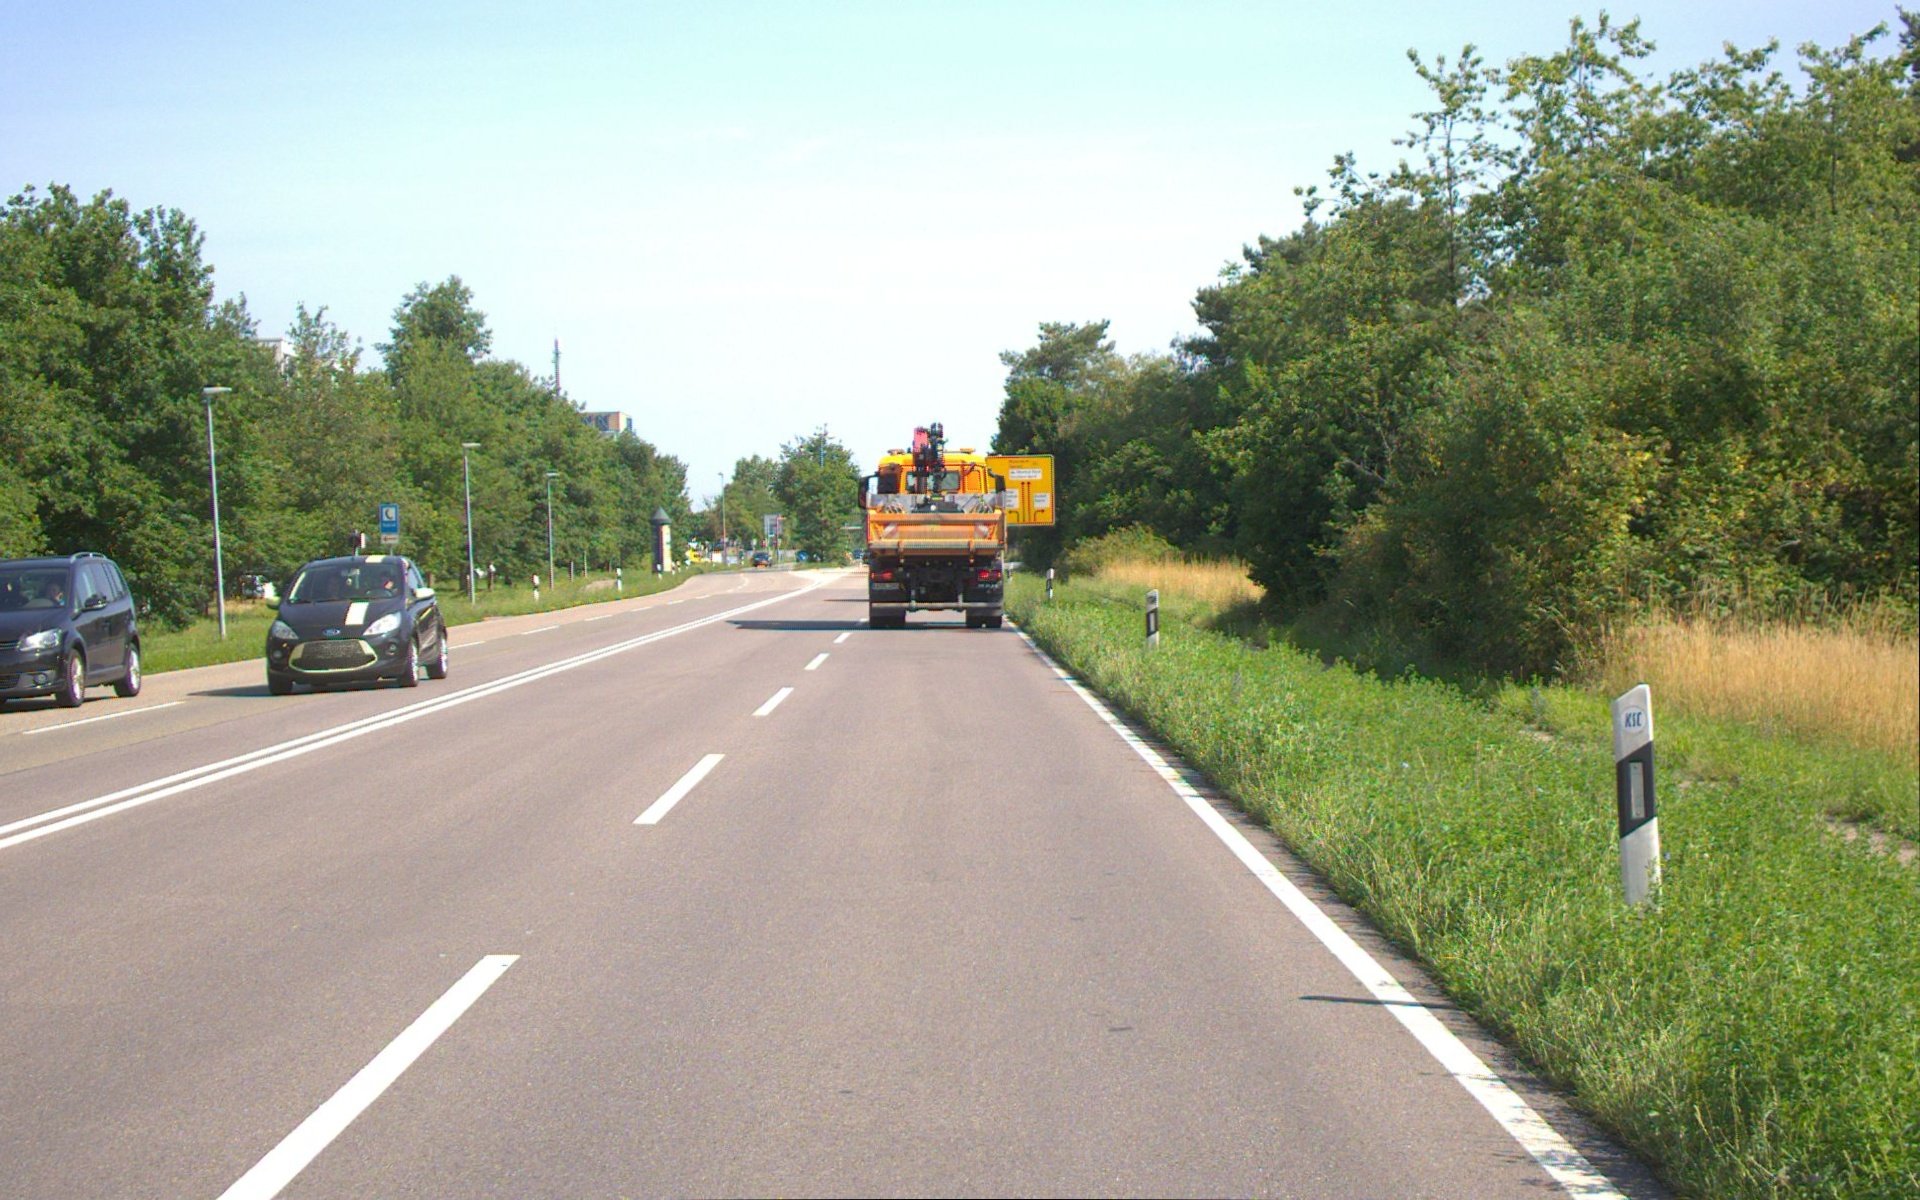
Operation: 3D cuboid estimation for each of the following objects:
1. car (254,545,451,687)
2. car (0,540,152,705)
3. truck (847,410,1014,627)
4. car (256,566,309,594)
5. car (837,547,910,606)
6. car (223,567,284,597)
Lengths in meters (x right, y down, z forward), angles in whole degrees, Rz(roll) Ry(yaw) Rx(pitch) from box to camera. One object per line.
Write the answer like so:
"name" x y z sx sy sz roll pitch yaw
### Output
"car" -6.823 0.143 38.918 1.517 1.445 3.775 -3 1 0
"car" -10.265 0.226 37.602 1.825 1.666 4.390 -3 1 -1
"truck" -0.659 -1.530 65.655 2.871 3.867 7.401 1 1 -3
"car" -36.917 -1.107 187.401 1.993 1.432 4.610 -1 1 -1
"car" -2.470 -0.688 97.320 1.993 1.578 4.001 -1 1 -2
"car" -36.433 -0.914 177.440 1.993 1.432 4.954 -1 1 1
